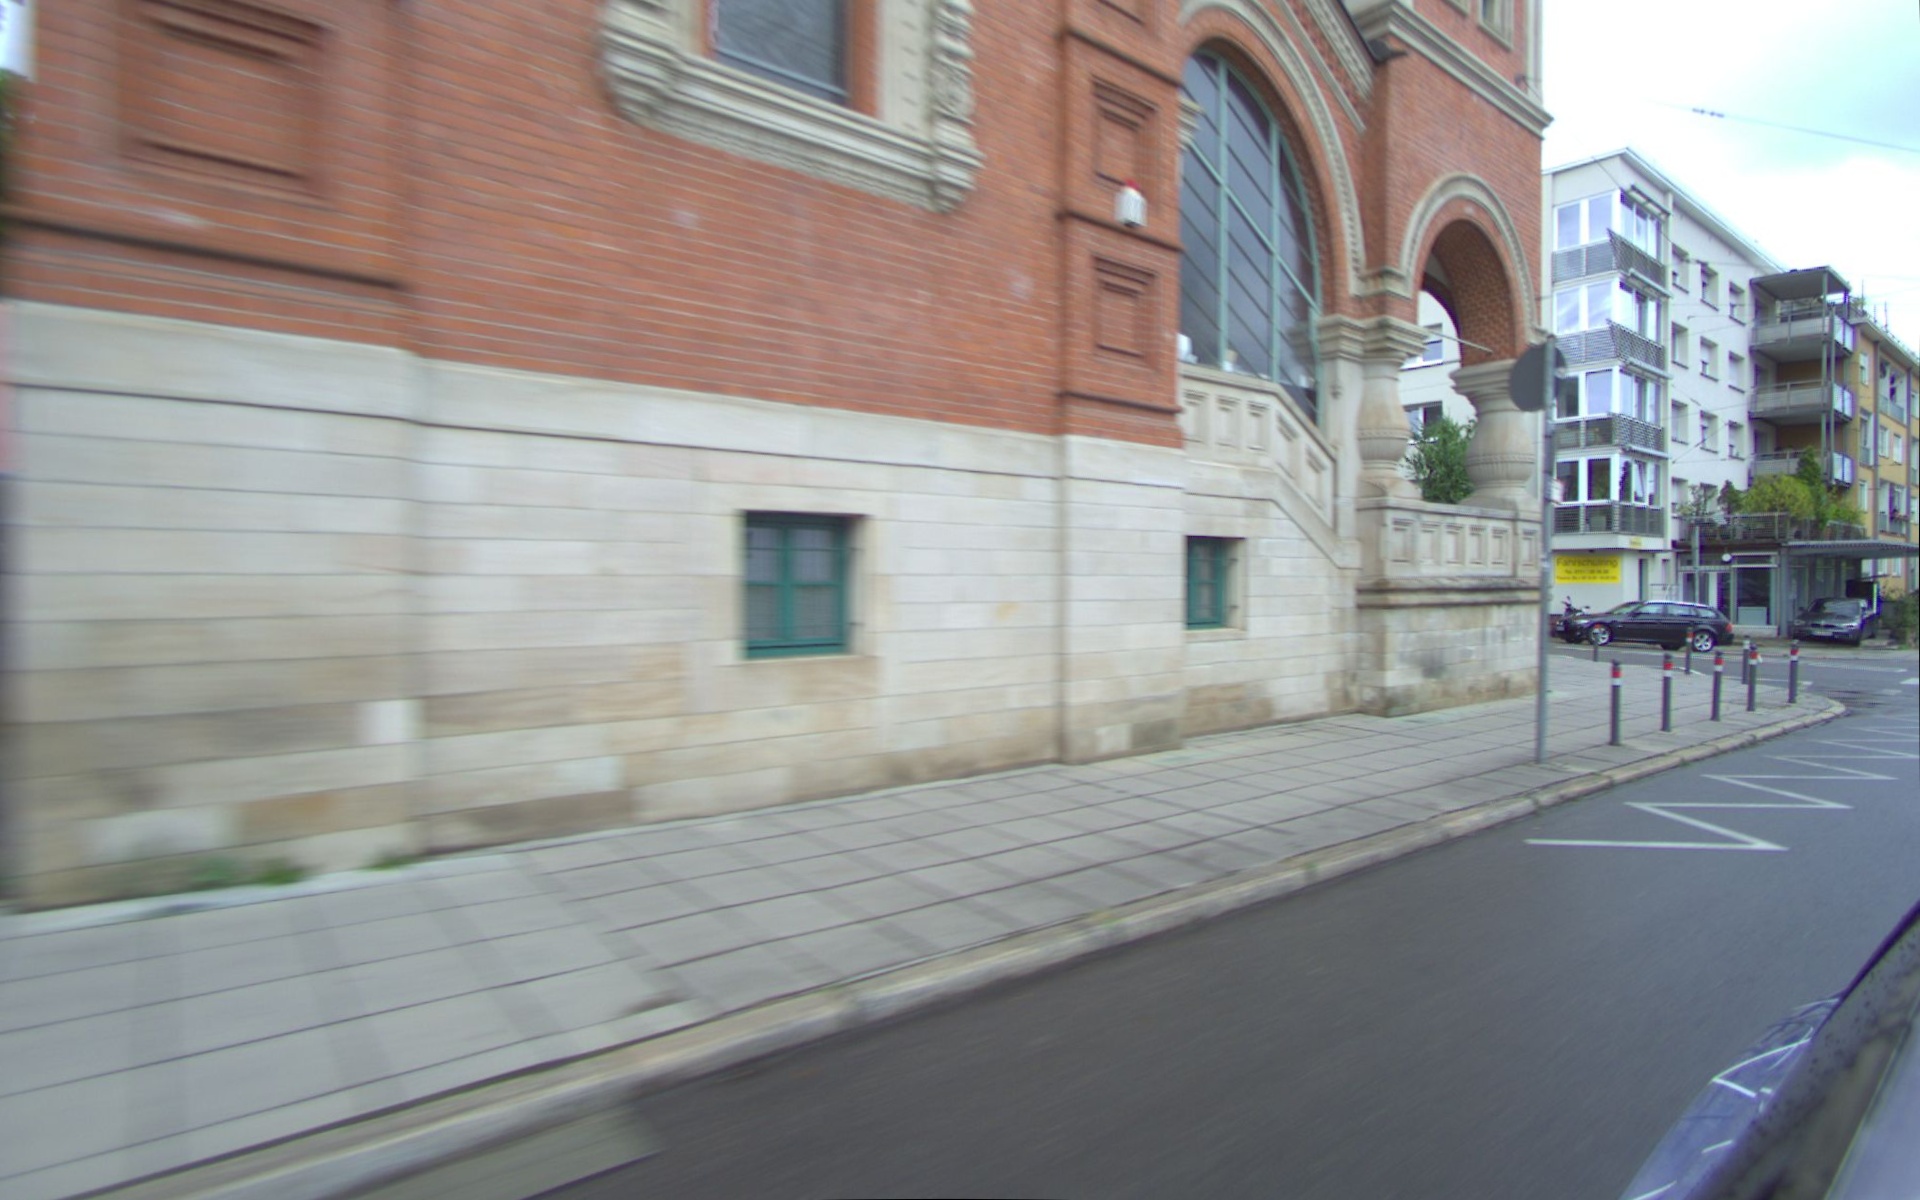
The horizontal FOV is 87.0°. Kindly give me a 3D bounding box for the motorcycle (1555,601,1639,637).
[{"bbox_3d":[20.680,0.610,32.878,2.178,0.991,0.551,4,2,9],"label":"motorcycle"}]

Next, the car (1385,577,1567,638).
[{"bbox_3d":[15.406,0.192,30.452,4.378,1.475,1.997,4,1,10],"label":"car"}]

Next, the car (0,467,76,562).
[{"bbox_3d":[-22.080,-1.915,22.112,1.963,2.002,3.998,-1,0,2],"label":"car"}]

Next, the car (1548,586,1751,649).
[{"bbox_3d":[20.064,0.499,29.639,4.376,1.475,1.997,4,0,8],"label":"car"}]

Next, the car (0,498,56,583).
[{"bbox_3d":[-17.586,-1.026,16.735,1.712,1.463,3.832,0,0,4],"label":"car"}]

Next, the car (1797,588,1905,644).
[{"bbox_3d":[29.761,0.476,33.776,4.369,1.520,1.859,-2,6,-38],"label":"car"}]
